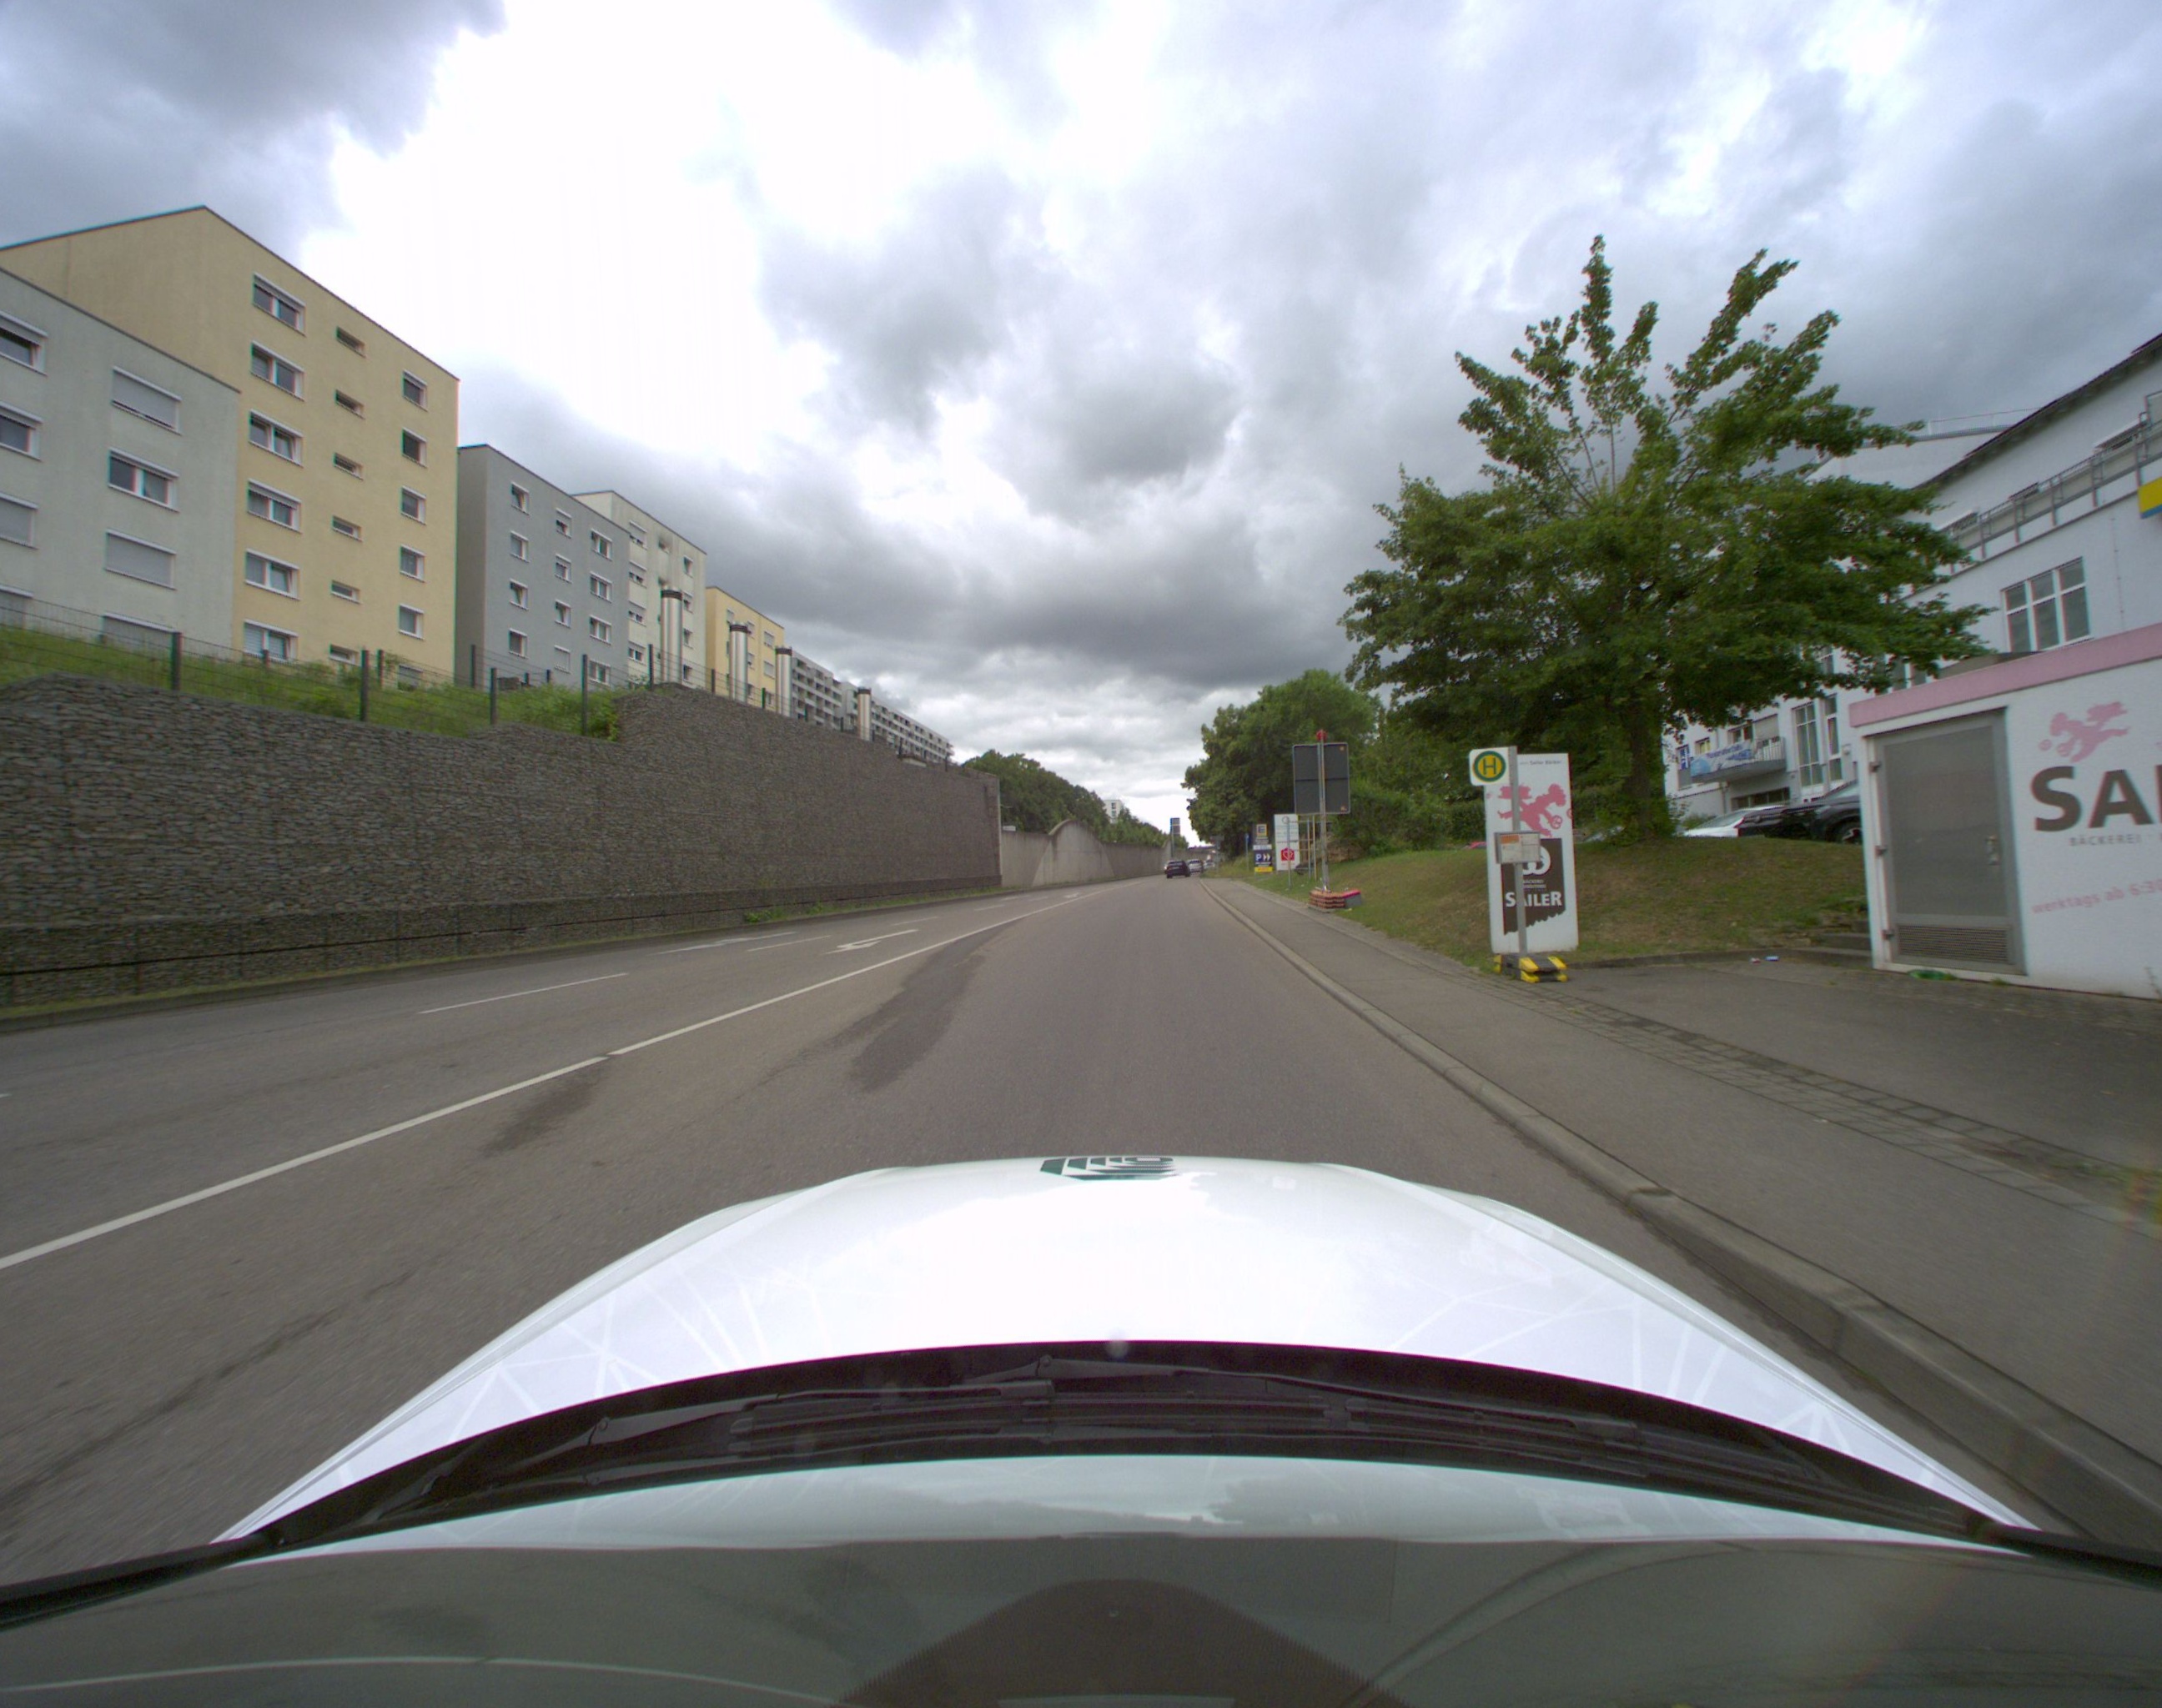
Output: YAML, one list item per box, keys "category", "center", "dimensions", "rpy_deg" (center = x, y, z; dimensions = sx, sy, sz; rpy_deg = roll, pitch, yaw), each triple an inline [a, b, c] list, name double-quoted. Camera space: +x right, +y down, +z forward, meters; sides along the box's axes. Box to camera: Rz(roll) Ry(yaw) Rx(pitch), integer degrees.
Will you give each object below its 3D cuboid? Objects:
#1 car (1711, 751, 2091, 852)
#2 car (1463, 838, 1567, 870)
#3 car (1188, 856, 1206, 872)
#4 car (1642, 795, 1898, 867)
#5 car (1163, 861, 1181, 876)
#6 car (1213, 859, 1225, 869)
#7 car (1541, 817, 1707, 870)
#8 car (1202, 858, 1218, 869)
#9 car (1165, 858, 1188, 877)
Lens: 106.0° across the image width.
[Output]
- category: "car"
  center: [13.260, -0.797, 13.465]
  dimensions: [4.014, 1.233, 1.917]
  rpy_deg: [-3, -3, 9]
- category: "car"
  center: [21.443, 0.013, 40.421]
  dimensions: [4.210, 1.450, 1.767]
  rpy_deg: [-2, -1, 14]
- category: "car"
  center: [12.016, 1.074, 84.385]
  dimensions: [1.743, 1.524, 4.047]
  rpy_deg: [0, -2, 10]
- category: "car"
  center: [14.995, -0.455, 17.954]
  dimensions: [3.849, 1.233, 1.875]
  rpy_deg: [-3, -3, 9]
- category: "car"
  center: [10.953, 1.742, 97.618]
  dimensions: [1.850, 1.632, 4.220]
  rpy_deg: [-3, -1, 10]
- category: "car"
  center: [22.401, 1.664, 132.061]
  dimensions: [1.743, 1.534, 4.267]
  rpy_deg: [0, -2, 11]
- category: "car"
  center: [16.782, -0.278, 25.356]
  dimensions: [3.850, 1.353, 1.839]
  rpy_deg: [-3, -3, 8]
- category: "car"
  center: [17.432, 1.307, 109.902]
  dimensions: [1.855, 1.490, 4.269]
  rpy_deg: [-1, -1, 11]
- category: "car"
  center: [8.080, 1.136, 68.489]
  dimensions: [1.744, 1.524, 4.046]
  rpy_deg: [0, -2, 9]
